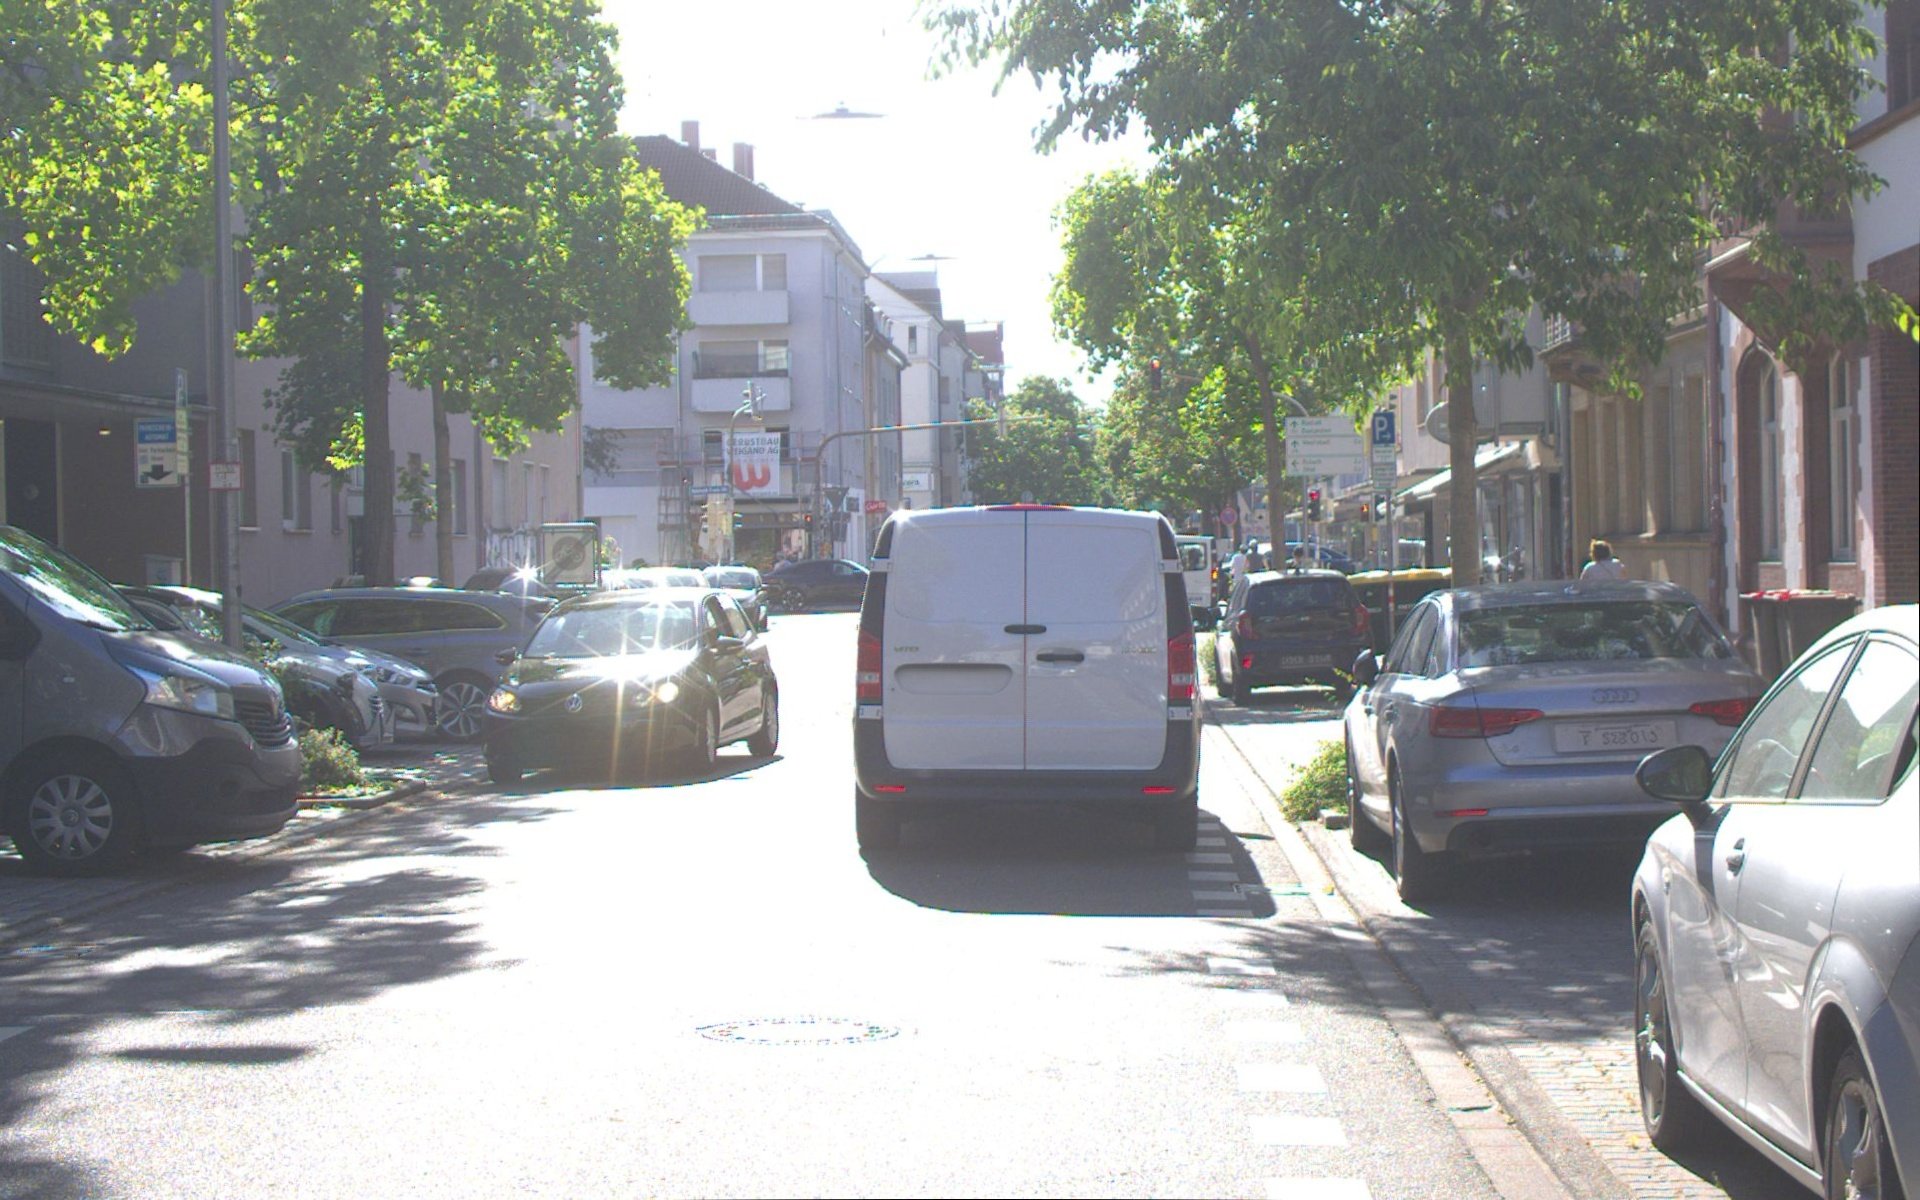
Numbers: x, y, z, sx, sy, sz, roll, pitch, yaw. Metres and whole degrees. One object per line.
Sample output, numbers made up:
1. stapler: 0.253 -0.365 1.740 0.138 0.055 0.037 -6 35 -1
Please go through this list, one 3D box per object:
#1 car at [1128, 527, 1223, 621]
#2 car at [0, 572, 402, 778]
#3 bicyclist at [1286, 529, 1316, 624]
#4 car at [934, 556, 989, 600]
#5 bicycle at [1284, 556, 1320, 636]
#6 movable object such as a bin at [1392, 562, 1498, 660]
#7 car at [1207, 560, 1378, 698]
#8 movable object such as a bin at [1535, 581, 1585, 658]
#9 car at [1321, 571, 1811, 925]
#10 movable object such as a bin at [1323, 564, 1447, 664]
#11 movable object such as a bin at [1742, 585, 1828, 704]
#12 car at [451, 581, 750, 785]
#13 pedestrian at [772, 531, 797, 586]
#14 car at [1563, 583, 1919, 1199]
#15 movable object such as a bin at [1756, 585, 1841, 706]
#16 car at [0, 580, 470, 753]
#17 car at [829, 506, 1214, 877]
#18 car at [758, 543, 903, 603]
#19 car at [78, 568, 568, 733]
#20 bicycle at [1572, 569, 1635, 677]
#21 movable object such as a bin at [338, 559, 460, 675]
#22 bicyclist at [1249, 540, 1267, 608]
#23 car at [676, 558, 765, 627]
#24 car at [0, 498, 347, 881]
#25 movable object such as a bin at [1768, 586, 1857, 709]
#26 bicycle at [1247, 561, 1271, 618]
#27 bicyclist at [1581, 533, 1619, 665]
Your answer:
1. car: 4.571 -0.574 73.397 1.816 1.914 4.644 -1 1 1
2. car: -6.362 0.564 27.115 3.598 1.547 1.684 0 1 3
3. bicyclist: 5.479 -0.380 55.196 0.439 1.503 0.496 0 1 2
4. car: 0.064 -0.719 112.346 1.618 1.393 3.731 0 1 2
5. bicycle: 5.478 -0.074 55.132 0.475 1.270 1.218 0 1 2
6. movable object such as a bin: 6.858 0.144 48.628 1.040 1.343 1.106 0 1 41
7. car: 3.793 0.299 39.692 1.635 1.471 3.580 -1 1 1
8. movable object such as a bin: 8.267 0.266 47.343 0.598 1.039 0.546 -1 1 2
9. car: 2.823 0.619 16.901 1.738 1.446 4.307 -1 1 2
10. movable object such as a bin: 5.875 0.190 47.537 1.268 1.343 1.108 -2 1 -39
11. movable object such as a bin: 7.556 0.400 31.508 0.638 1.065 0.632 -1 1 2
12. car: -2.775 0.600 27.331 1.763 1.433 3.960 -2 1 2
13. pedestrian: -5.329 -1.270 104.504 0.683 1.658 0.601 -1 1 1
14. car: 2.490 0.710 7.520 1.738 1.446 4.000 -1 1 2
15. movable object such as a bin: 7.542 0.408 30.941 0.638 1.065 0.521 -1 1 2
16. car: -6.451 0.564 30.363 3.987 1.458 1.813 0 1 0
17. car: 0.226 0.425 20.232 1.920 1.907 4.889 0 1 -3
18. car: -3.607 -0.763 96.251 3.987 1.634 2.000 0 1 -1
19. car: -6.069 0.461 33.035 4.306 1.455 1.762 1 1 5
20. bicycle: 7.182 0.239 38.410 0.536 1.145 2.123 -3 0 8
21. movable object such as a bin: -7.145 0.208 43.822 1.231 1.445 1.075 -1 1 11
22. bicyclist: 6.917 -0.595 79.913 0.355 1.570 0.482 1 0 -1
23. car: -5.449 -0.193 78.539 1.653 1.474 4.000 1 1 1
24. car: -6.225 0.423 18.908 5.292 1.967 2.015 1 1 2
25. movable object such as a bin: 7.523 0.414 30.353 0.638 1.065 0.639 -1 1 2
26. bicycle: 6.936 -0.239 79.750 0.416 1.305 1.335 0 1 0
27. bicyclist: 7.157 -0.015 38.443 0.361 1.472 0.530 0 1 4
